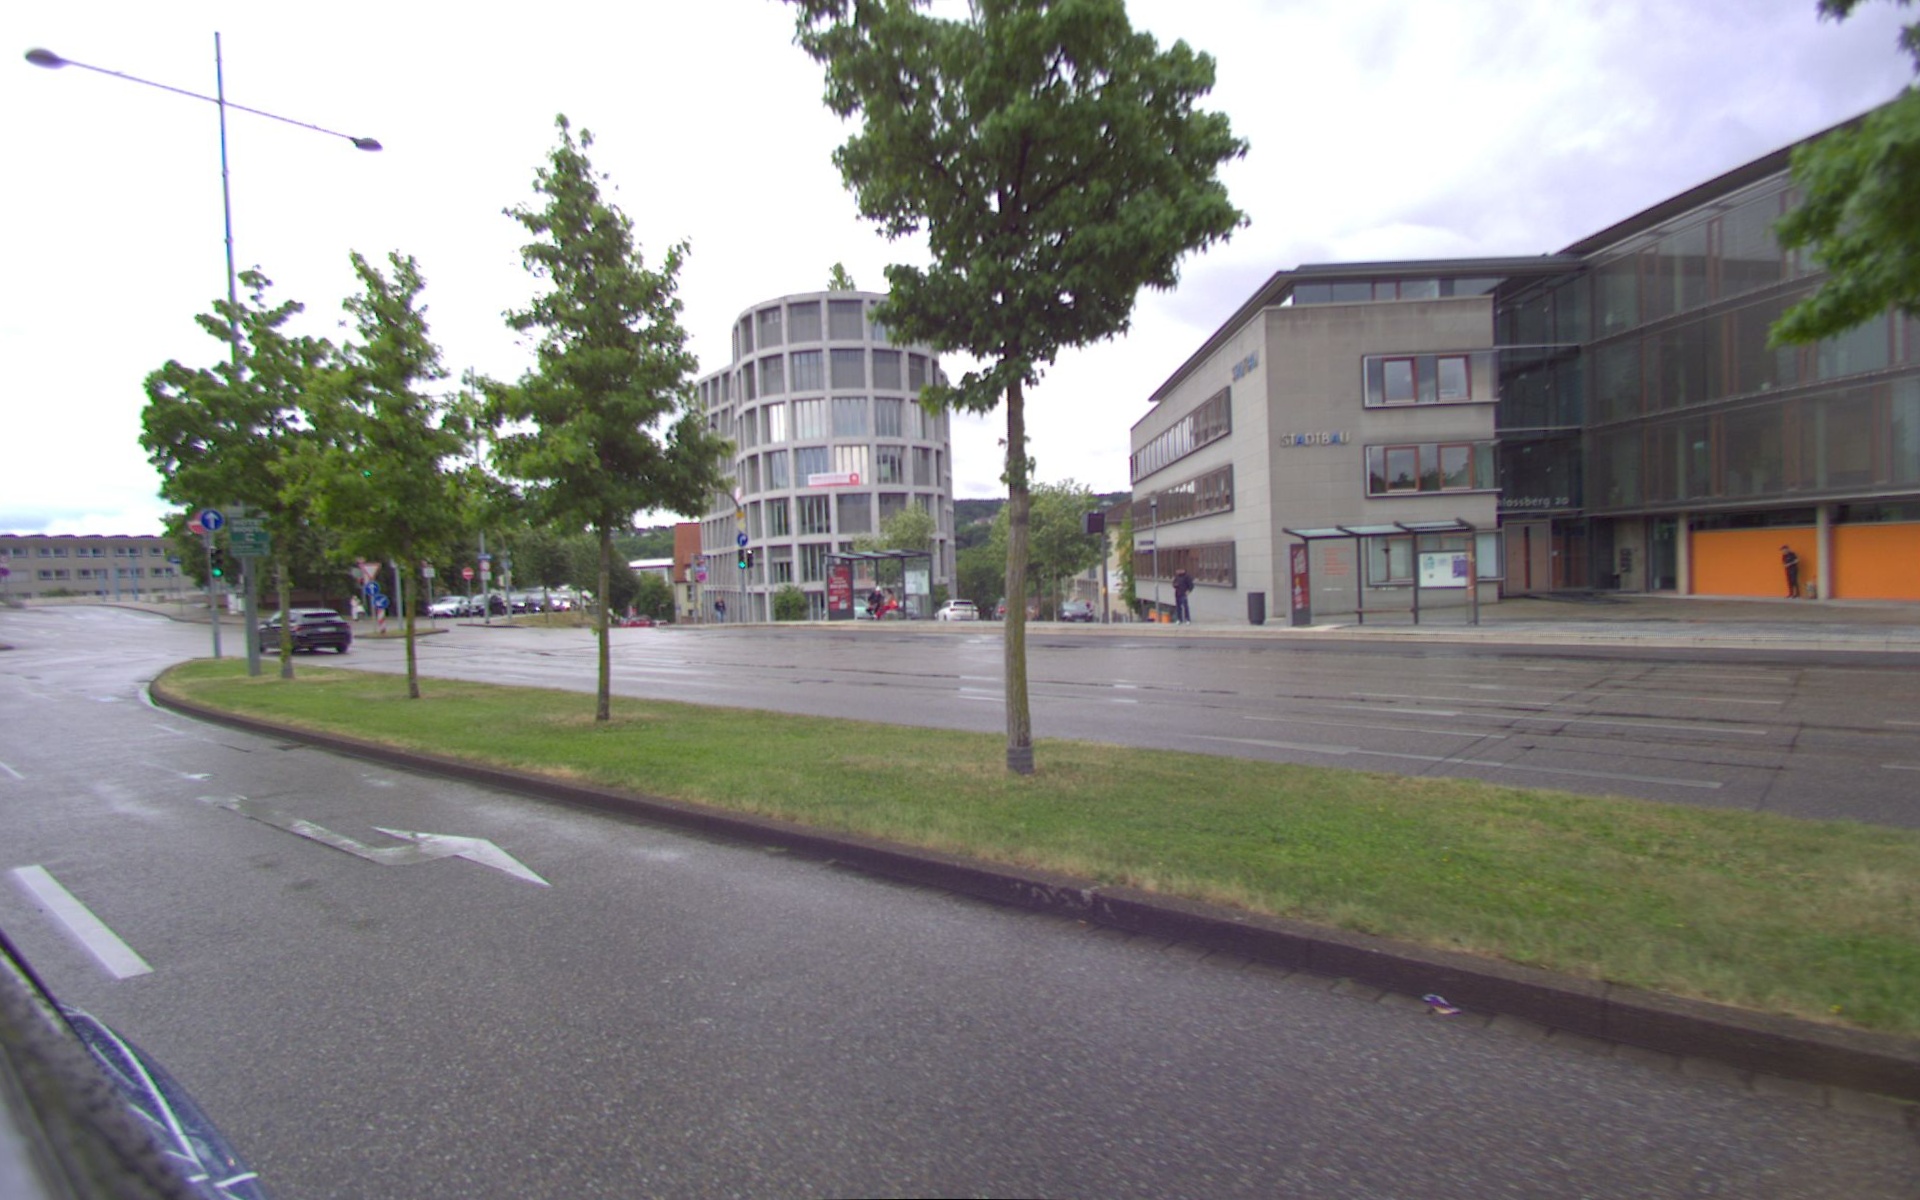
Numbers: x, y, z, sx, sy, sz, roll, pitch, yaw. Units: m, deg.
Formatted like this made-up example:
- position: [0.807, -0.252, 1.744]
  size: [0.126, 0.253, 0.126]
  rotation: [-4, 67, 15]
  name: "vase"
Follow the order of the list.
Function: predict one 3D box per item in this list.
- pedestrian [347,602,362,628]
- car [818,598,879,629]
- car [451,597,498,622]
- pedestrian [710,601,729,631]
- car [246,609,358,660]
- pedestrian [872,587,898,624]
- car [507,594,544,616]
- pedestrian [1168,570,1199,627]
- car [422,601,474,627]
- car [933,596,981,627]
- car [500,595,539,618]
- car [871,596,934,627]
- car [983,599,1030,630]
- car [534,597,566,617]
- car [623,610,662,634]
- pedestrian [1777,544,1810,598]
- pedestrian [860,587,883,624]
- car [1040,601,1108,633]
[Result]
- position: [-38.402, 0.958, 64.169]
  size: [0.644, 1.582, 0.631]
  rotation: [0, 2, -45]
  name: "pedestrian"
- position: [-5.829, 0.695, 52.532]
  size: [1.606, 1.507, 3.591]
  rotation: [-2, 1, -35]
  name: "car"
- position: [-32.999, 0.638, 68.883]
  size: [1.701, 1.579, 3.845]
  rotation: [-1, 1, -8]
  name: "car"
- position: [-12.822, 0.840, 53.973]
  size: [0.704, 1.595, 0.665]
  rotation: [0, 2, 38]
  name: "pedestrian"
- position: [-21.602, 1.089, 33.163]
  size: [4.633, 1.539, 1.664]
  rotation: [-1, 1, 38]
  name: "car"
- position: [-2.945, 0.212, 39.828]
  size: [0.720, 1.402, 0.672]
  rotation: [-1, 1, 38]
  name: "pedestrian"
- position: [-34.439, 0.369, 80.273]
  size: [1.701, 1.579, 3.845]
  rotation: [-1, 1, -8]
  name: "car"
- position: [6.838, -0.047, 30.995]
  size: [0.468, 1.696, 0.764]
  rotation: [-1, 0, -43]
  name: "pedestrian"
- position: [-35.570, 0.944, 70.394]
  size: [1.858, 1.579, 4.147]
  rotation: [-1, 1, -6]
  name: "car"
- position: [-0.180, 0.567, 52.568]
  size: [1.737, 1.507, 3.797]
  rotation: [-1, 1, -12]
  name: "car"
- position: [-32.948, 0.489, 75.817]
  size: [1.701, 1.579, 3.845]
  rotation: [-1, 1, -8]
  name: "car"
- position: [-3.038, 0.585, 52.797]
  size: [1.606, 1.507, 3.591]
  rotation: [-2, 1, -35]
  name: "car"
- position: [2.389, 0.732, 53.267]
  size: [1.606, 1.507, 3.591]
  rotation: [-1, 1, -12]
  name: "car"
- position: [-36.265, 0.599, 89.634]
  size: [1.701, 1.579, 3.845]
  rotation: [-1, 1, -8]
  name: "car"
- position: [-23.059, 1.591, 73.589]
  size: [1.801, 1.563, 4.037]
  rotation: [-1, 1, -4]
  name: "car"
- position: [26.470, -0.908, 32.145]
  size: [0.467, 1.696, 0.645]
  rotation: [-1, 0, -19]
  name: "pedestrian"
- position: [-3.526, 0.215, 40.334]
  size: [0.625, 1.480, 0.672]
  rotation: [-1, 1, 38]
  name: "pedestrian"
- position: [5.846, 0.846, 52.184]
  size: [1.605, 1.507, 3.593]
  rotation: [-2, 1, -32]
  name: "car"
